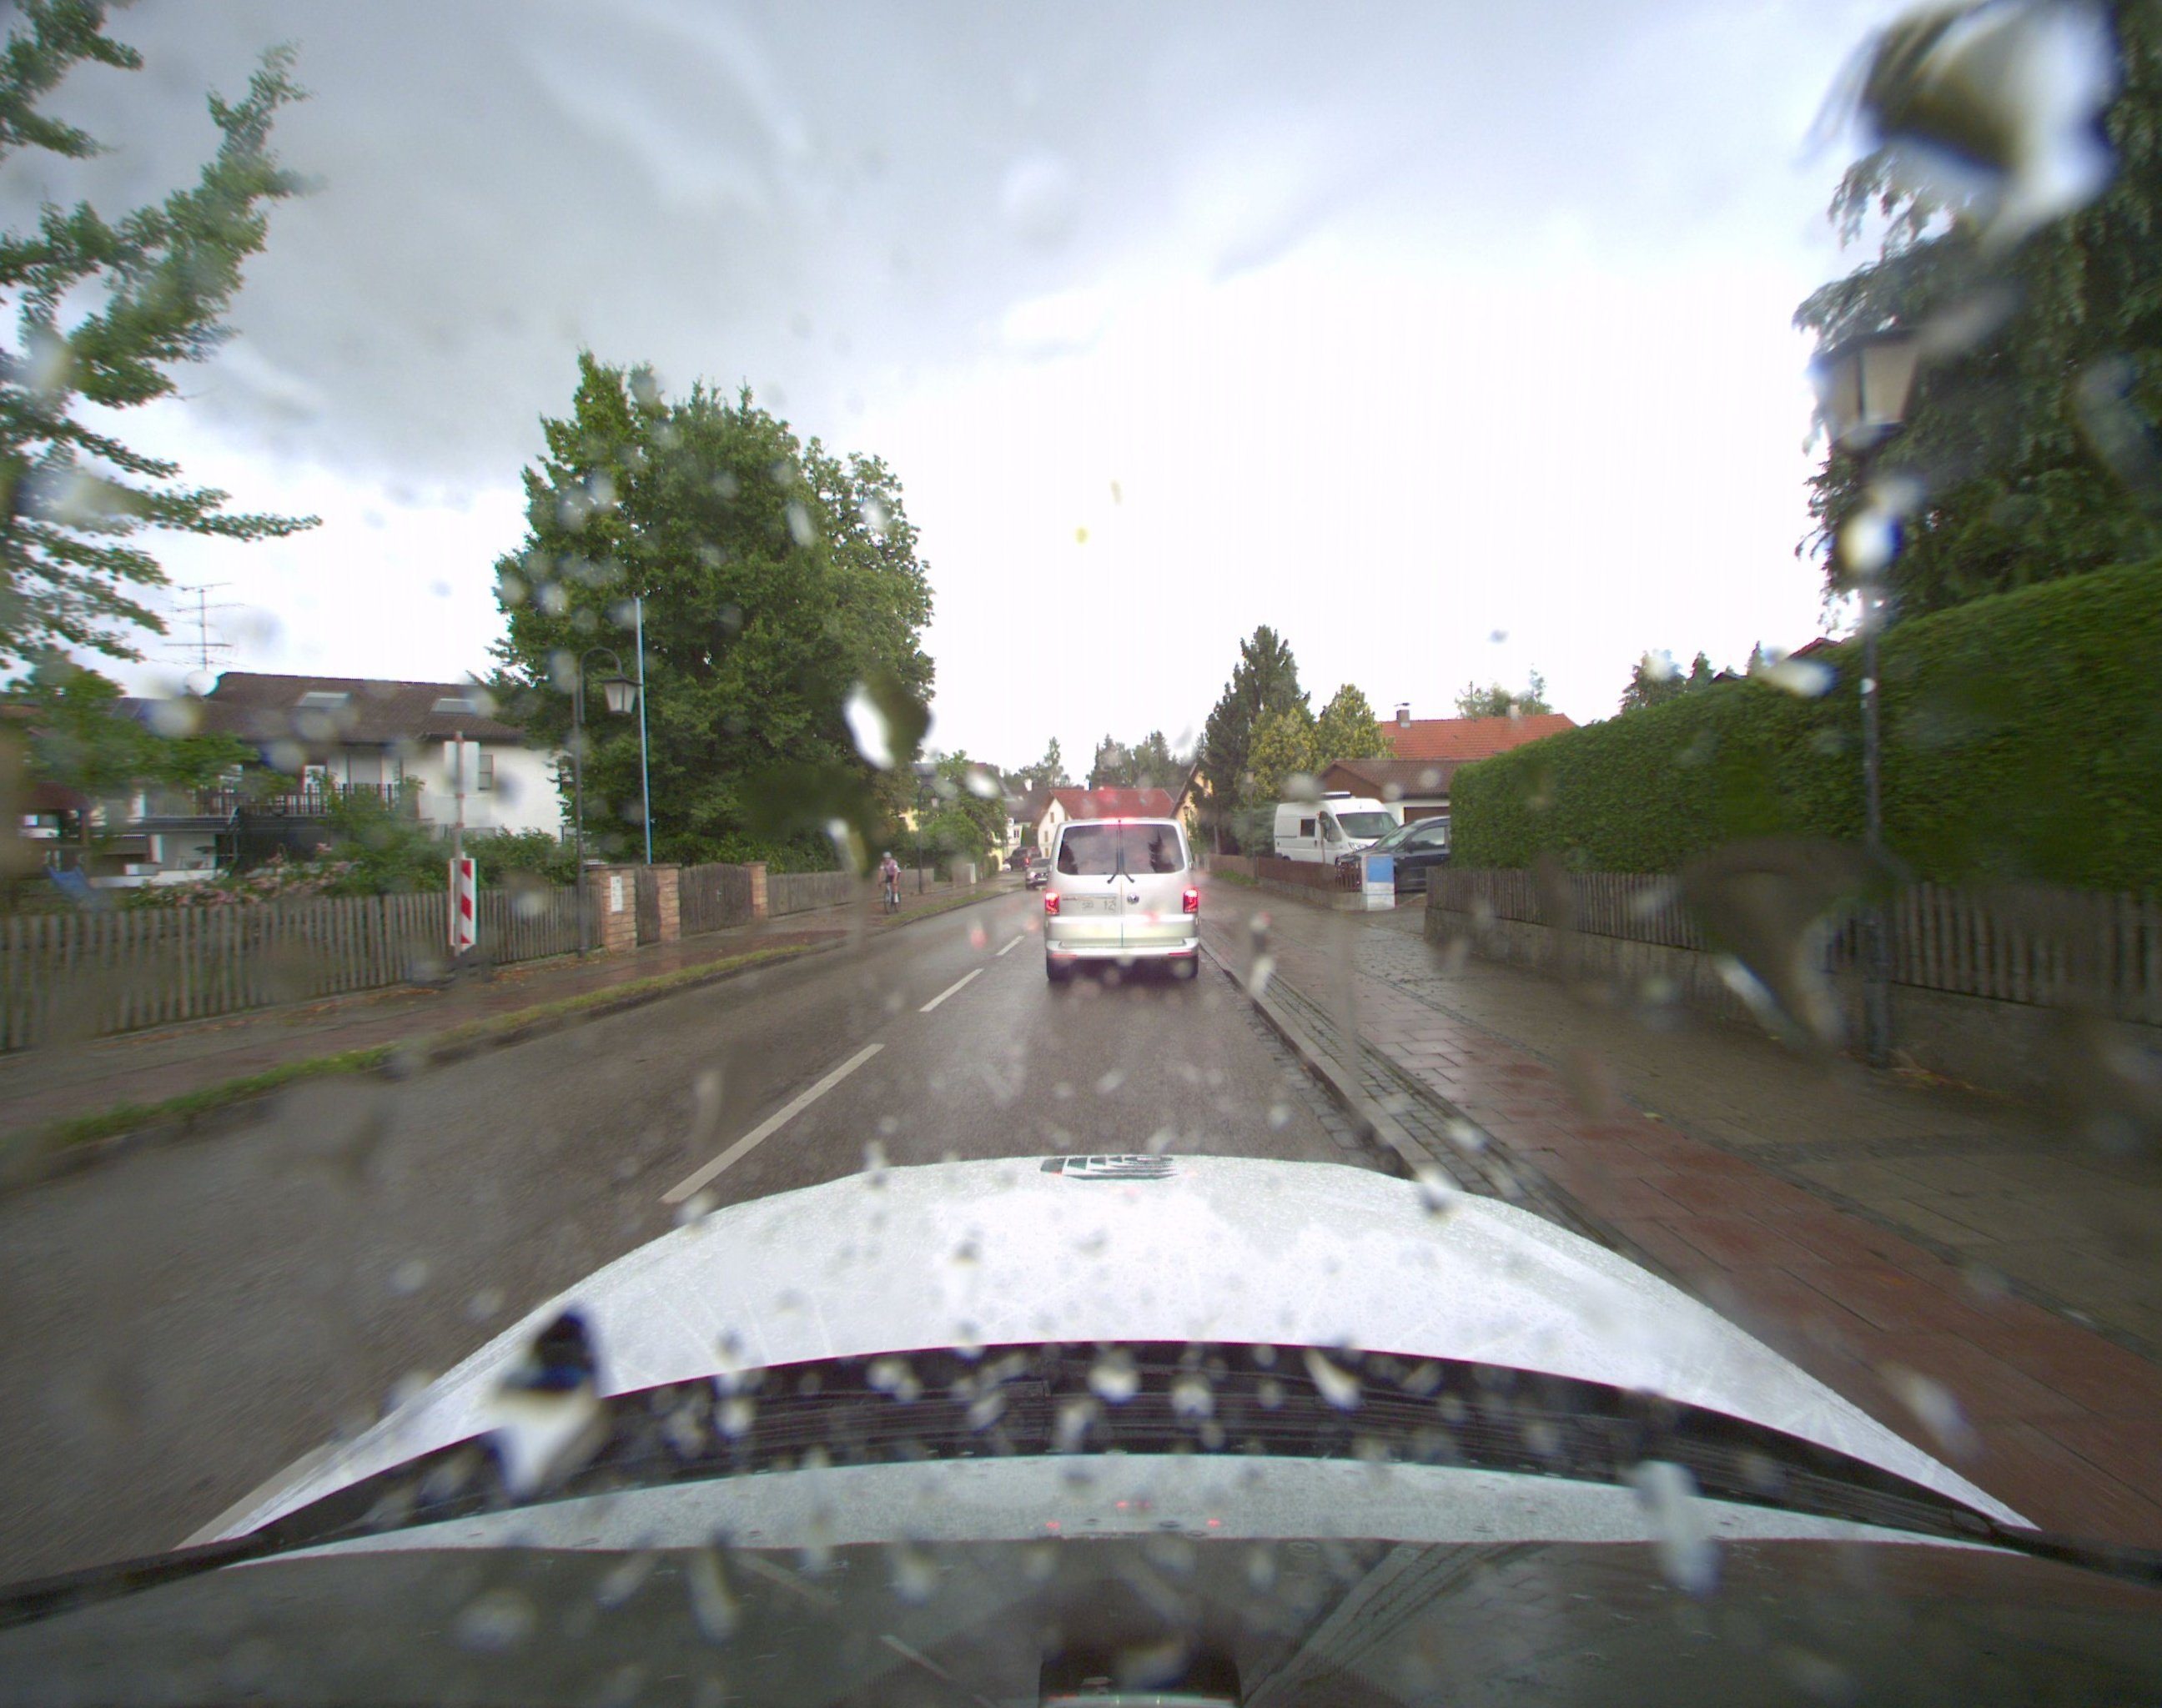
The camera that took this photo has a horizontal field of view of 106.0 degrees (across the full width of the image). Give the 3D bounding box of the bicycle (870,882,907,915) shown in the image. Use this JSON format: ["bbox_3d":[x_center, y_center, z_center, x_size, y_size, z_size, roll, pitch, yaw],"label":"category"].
[{"bbox_3d":[-5.227,1.200,22.245,0.454,0.798,1.978,-1,0,2],"label":"bicycle"}]

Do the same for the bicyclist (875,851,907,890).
[{"bbox_3d":[-5.208,0.450,22.337,0.585,1.021,1.061,-1,0,2],"label":"bicyclist"}]

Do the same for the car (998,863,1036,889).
[{"bbox_3d":[-3.616,1.243,46.725,1.610,1.444,3.674,-1,-1,4],"label":"car"}]

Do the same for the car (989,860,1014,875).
[{"bbox_3d":[-9.225,1.582,93.846,2.000,1.703,3.974,0,-1,-19],"label":"car"}]

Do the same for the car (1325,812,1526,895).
[{"bbox_3d":[8.128,-0.040,19.458,4.082,1.751,1.694,-2,2,-2],"label":"car"}]

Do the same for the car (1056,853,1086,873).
[{"bbox_3d":[-0.977,0.898,80.639,1.998,2.014,3.978,0,-1,-16],"label":"car"}]

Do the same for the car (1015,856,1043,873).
[{"bbox_3d":[-5.998,1.259,94.152,2.002,1.927,3.969,0,-1,-23],"label":"car"}]

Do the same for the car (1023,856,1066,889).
[{"bbox_3d":[-1.827,0.939,41.875,1.820,1.558,4.179,-2,-1,2],"label":"car"}]

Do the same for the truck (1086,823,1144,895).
[{"bbox_3d":[1.582,0.247,38.015,2.466,3.074,6.298,0,-1,2],"label":"truck"}]

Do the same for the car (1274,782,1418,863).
[{"bbox_3d":[7.784,-0.811,24.532,1.994,2.174,4.934,0,-1,-11],"label":"car"}]

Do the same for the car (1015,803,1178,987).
[{"bbox_3d":[0.340,0.476,10.956,1.792,2.014,4.005,0,-1,5],"label":"car"}]

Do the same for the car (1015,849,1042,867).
[{"bbox_3d":[-6.079,0.519,94.007,2.001,2.014,3.971,0,-1,-22],"label":"car"}]
